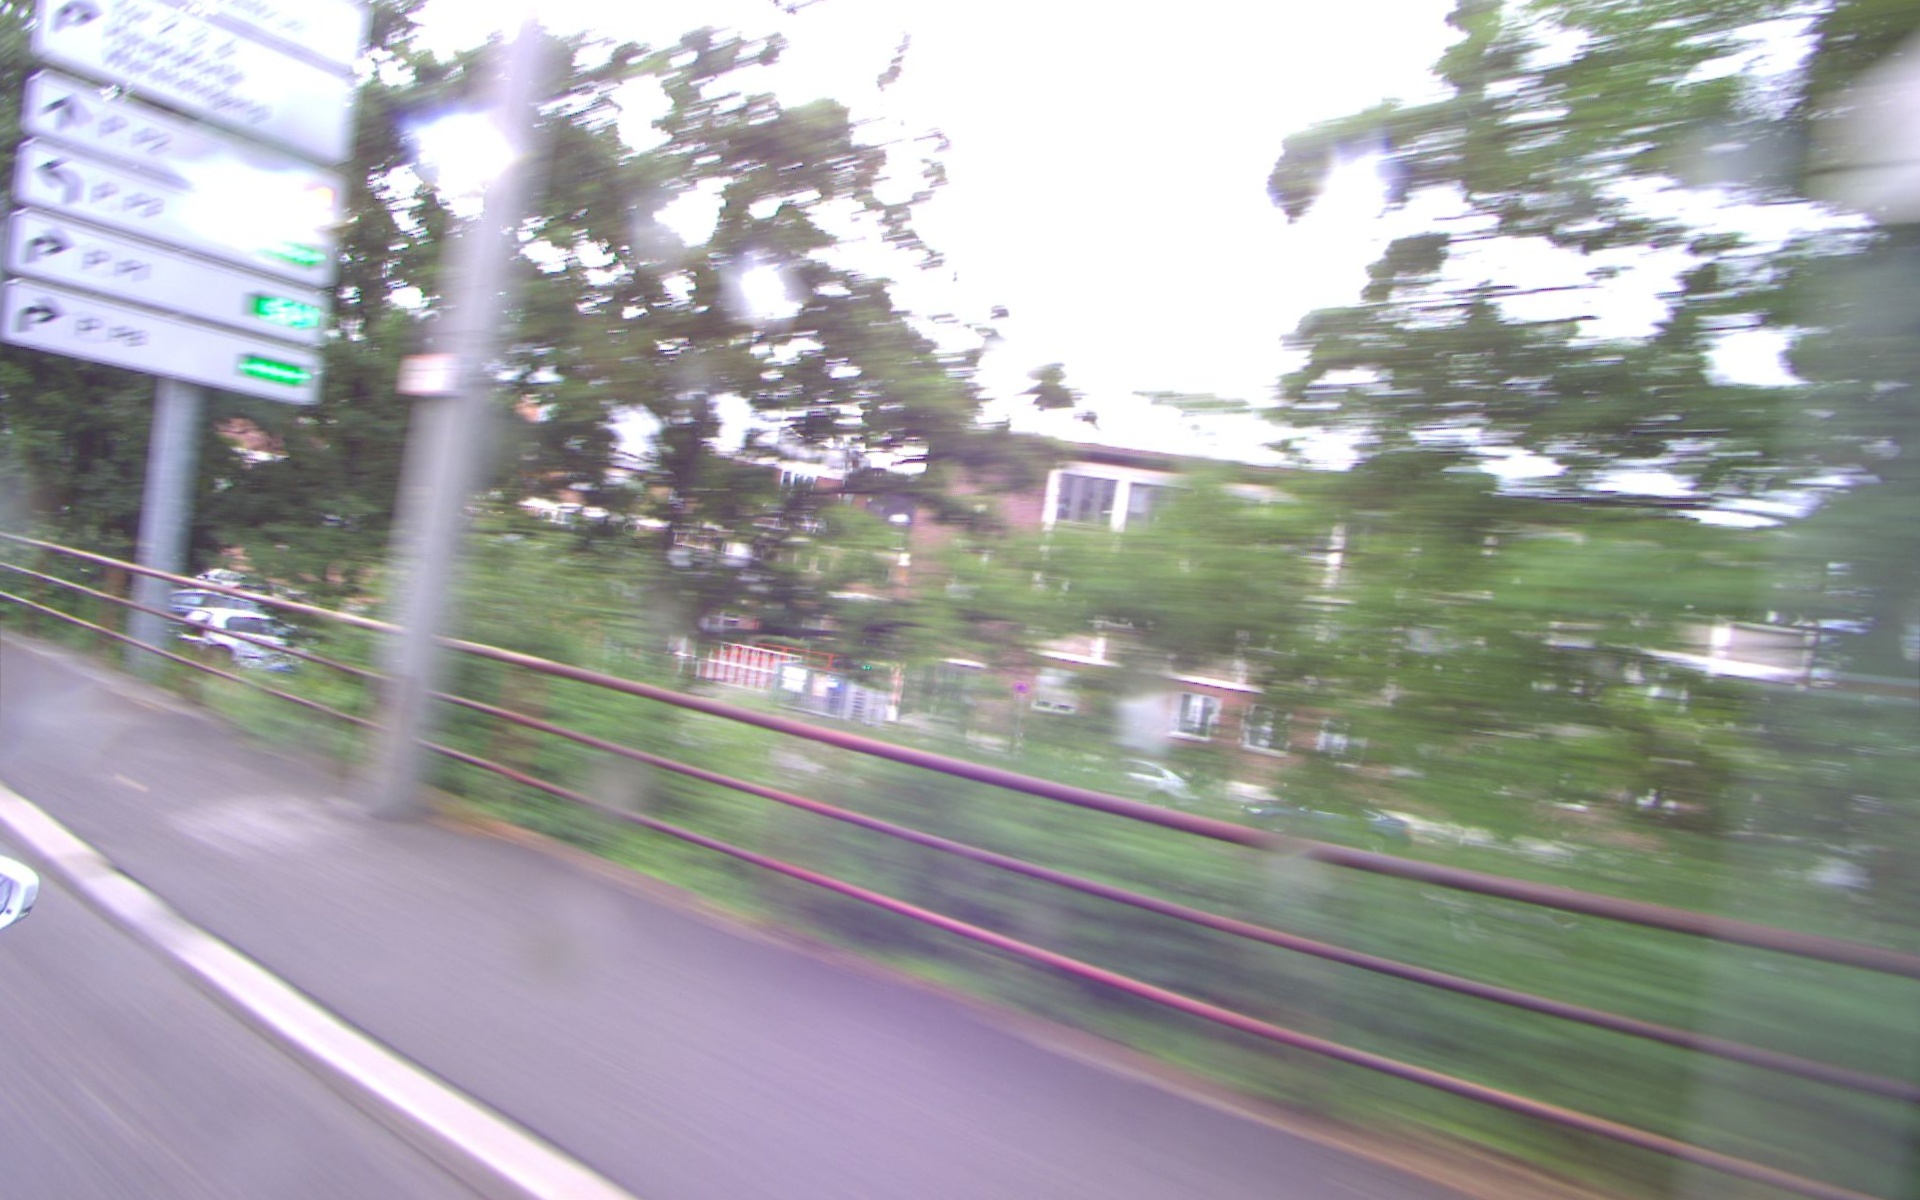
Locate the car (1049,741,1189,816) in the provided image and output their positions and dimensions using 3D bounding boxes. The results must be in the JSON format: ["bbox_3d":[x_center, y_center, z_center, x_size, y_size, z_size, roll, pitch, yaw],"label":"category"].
[{"bbox_3d":[4.904,5.430,30.944,3.924,1.412,1.669,8,-1,16],"label":"car"}]

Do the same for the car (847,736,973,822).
[{"bbox_3d":[-1.070,4.022,23.013,1.487,1.413,3.415,9,-2,20],"label":"car"}]

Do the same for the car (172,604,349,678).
[{"bbox_3d":[-19.229,1.161,27.814,1.523,1.317,3.573,7,-8,29],"label":"car"}]

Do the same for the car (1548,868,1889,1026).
[{"bbox_3d":[13.192,6.029,17.799,4.366,1.440,1.750,8,-2,12],"label":"car"}]

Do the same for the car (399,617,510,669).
[{"bbox_3d":[-19.890,1.700,39.598,3.786,1.504,1.704,8,0,22],"label":"car"}]

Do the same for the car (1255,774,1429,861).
[{"bbox_3d":[11.018,6.275,29.310,4.366,1.542,1.750,8,-1,12],"label":"car"}]
